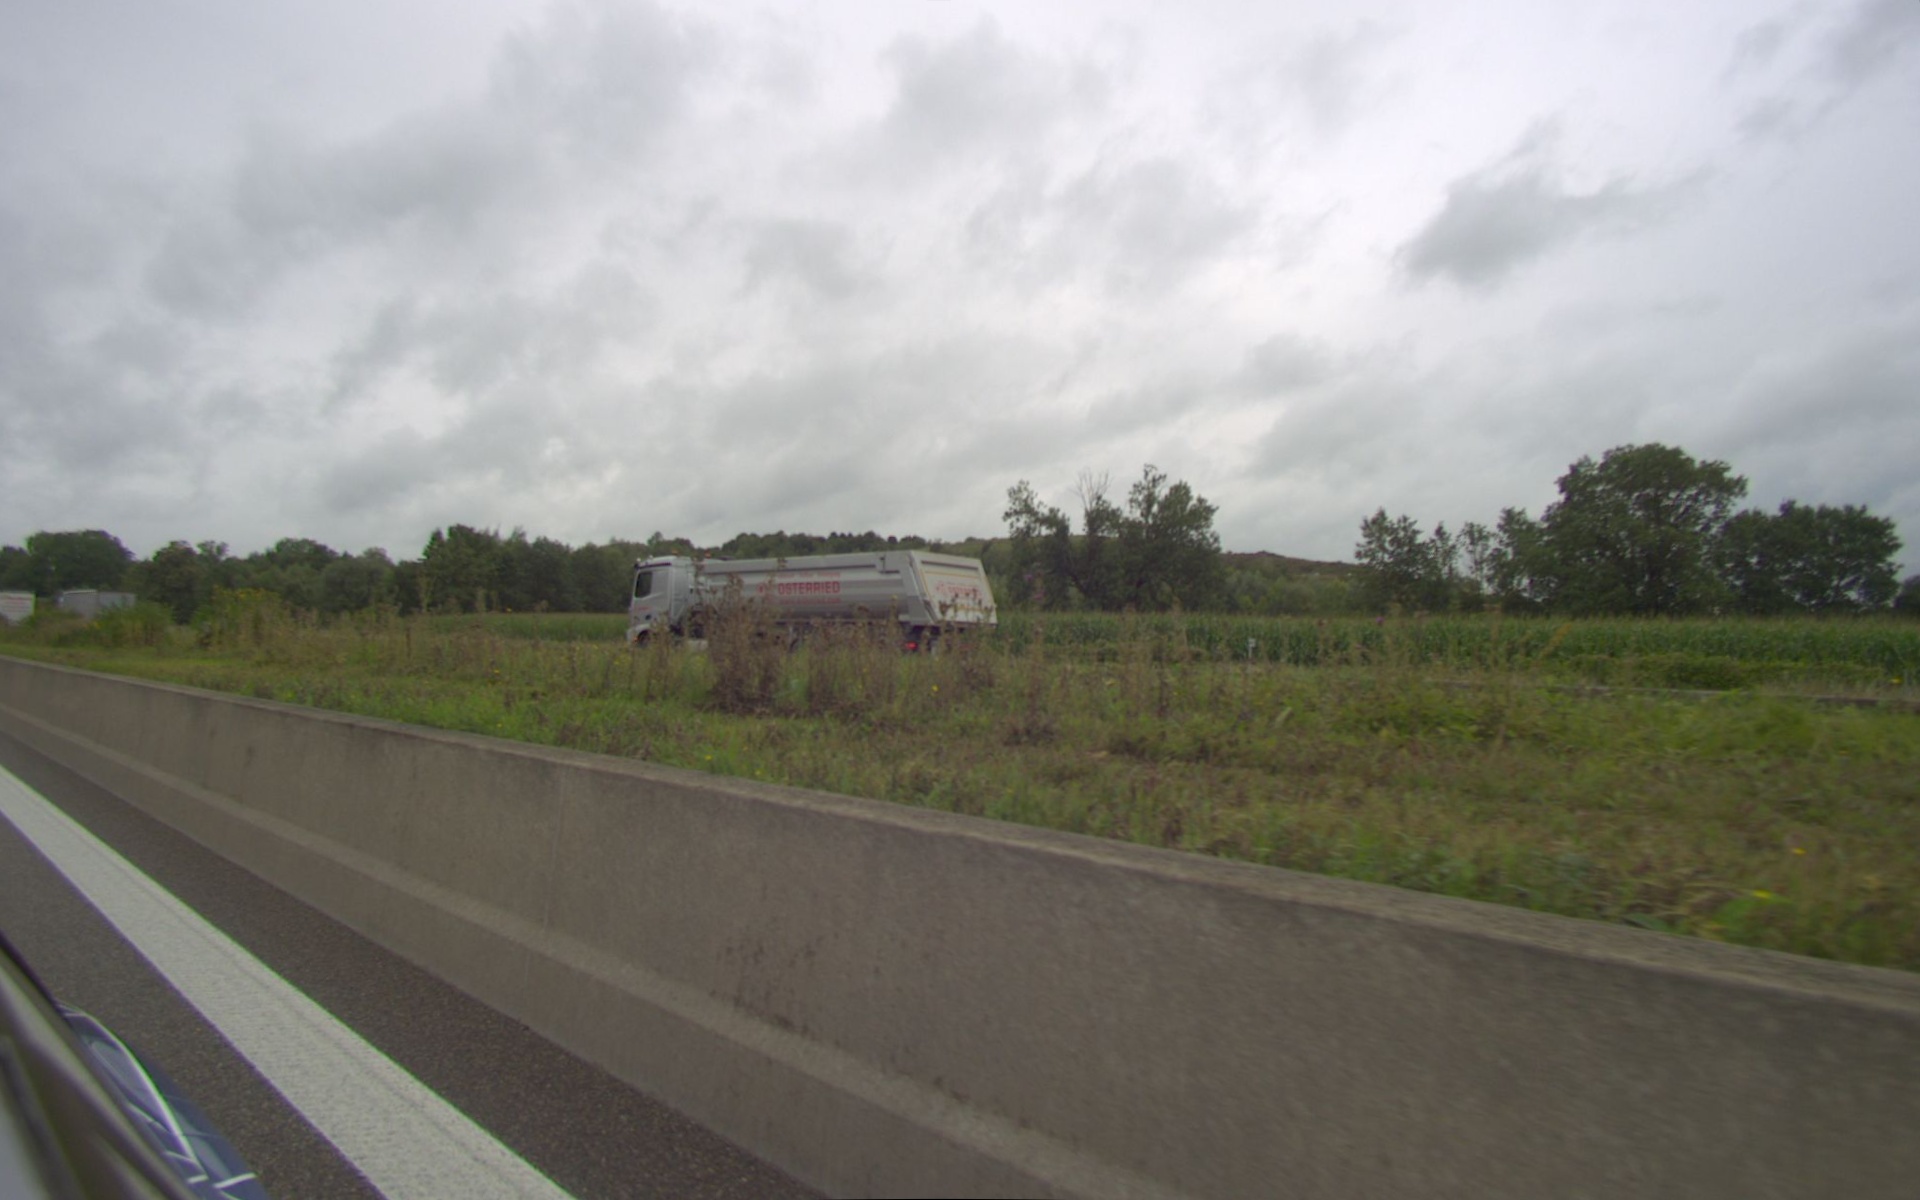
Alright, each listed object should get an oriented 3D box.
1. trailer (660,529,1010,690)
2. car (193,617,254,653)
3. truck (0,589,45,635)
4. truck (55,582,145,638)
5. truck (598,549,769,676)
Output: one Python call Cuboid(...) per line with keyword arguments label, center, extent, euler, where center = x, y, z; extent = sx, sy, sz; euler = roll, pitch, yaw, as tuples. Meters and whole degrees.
Cuboid(label="trailer", center=(-3.522, 0.237, 25.392), extent=(9.921, 3.353, 2.758), euler=(-1, 0, 41))
Cuboid(label="car", center=(-43.990, 2.075, 60.378), extent=(4.478, 2.029, 1.973), euler=(-1, 0, 41))
Cuboid(label="truck", center=(-87.802, 1.126, 92.972), extent=(16.101, 3.910, 3.563), euler=(-1, 0, 41))
Cuboid(label="truck", center=(-72.955, 0.870, 85.620), extent=(16.890, 4.375, 3.290), euler=(-1, 0, 41))
Cuboid(label="truck", center=(-8.055, 0.351, 29.328), extent=(4.518, 3.369, 2.728), euler=(-1, 0, 41))
